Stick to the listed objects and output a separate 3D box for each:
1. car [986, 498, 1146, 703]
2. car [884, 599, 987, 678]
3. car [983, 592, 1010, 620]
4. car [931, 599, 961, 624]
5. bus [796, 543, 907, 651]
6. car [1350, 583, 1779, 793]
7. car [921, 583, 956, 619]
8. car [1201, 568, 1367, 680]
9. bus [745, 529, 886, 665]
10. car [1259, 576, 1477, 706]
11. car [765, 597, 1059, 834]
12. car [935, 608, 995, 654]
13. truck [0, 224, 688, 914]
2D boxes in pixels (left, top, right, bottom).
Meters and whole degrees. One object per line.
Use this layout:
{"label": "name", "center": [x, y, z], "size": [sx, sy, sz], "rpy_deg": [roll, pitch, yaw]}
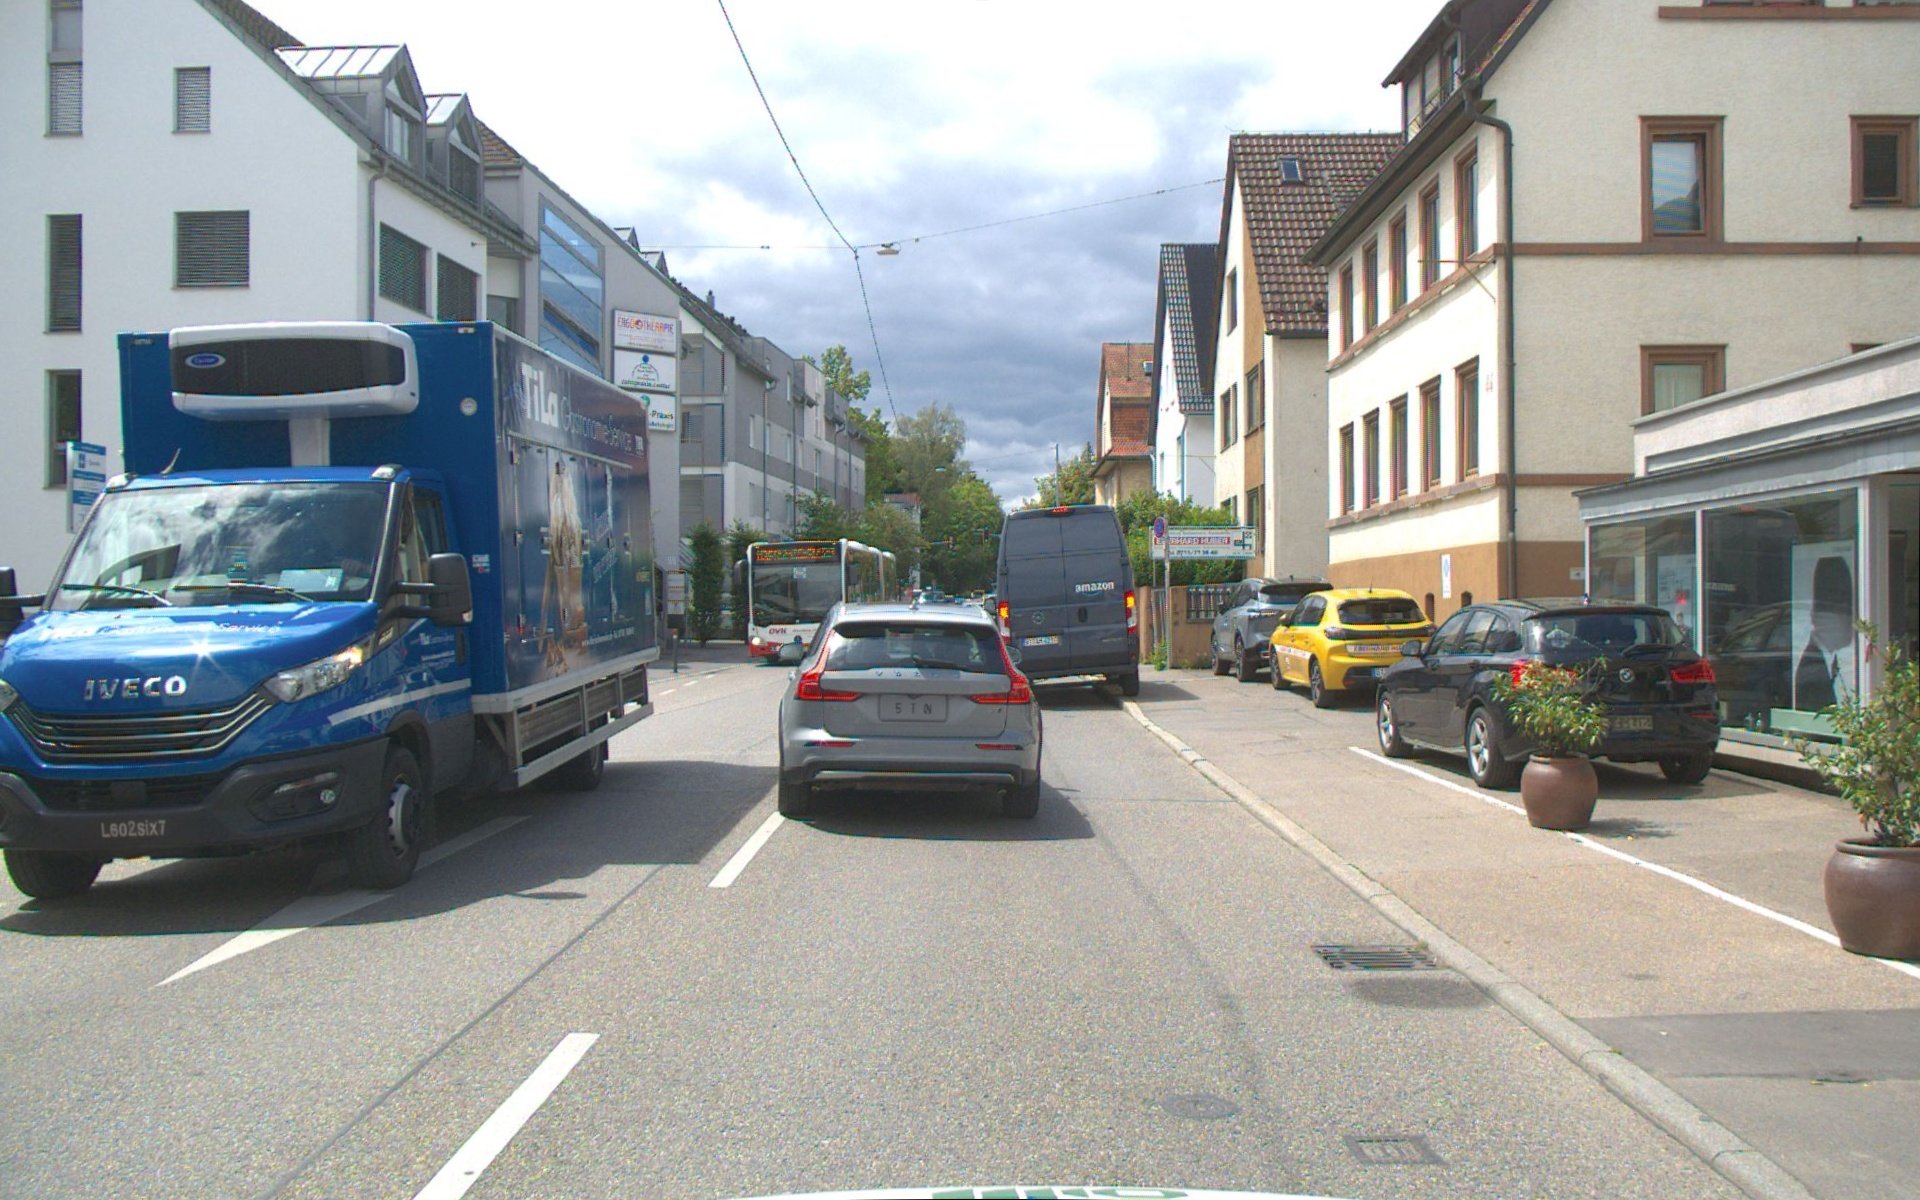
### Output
{"label": "car", "center": [1.631, 0.005, 25.855], "size": [2.205, 2.844, 5.571], "rpy_deg": [-1, 0, 3]}
{"label": "car", "center": [-0.433, 0.738, 33.756], "size": [1.857, 1.472, 3.970], "rpy_deg": [1, 0, 2]}
{"label": "car", "center": [2.794, 0.468, 125.453], "size": [1.952, 2.049, 4.001], "rpy_deg": [0, 0, 2]}
{"label": "car", "center": [-0.944, 0.795, 116.691], "size": [2.062, 1.739, 4.765], "rpy_deg": [-1, 0, 0]}
{"label": "bus", "center": [-3.387, -0.088, 53.722], "size": [2.659, 3.219, 8.071], "rpy_deg": [-1, 0, 3]}
{"label": "car", "center": [4.895, 0.626, 14.185], "size": [1.928, 1.473, 4.534], "rpy_deg": [-1, 0, -1]}
{"label": "car", "center": [-1.348, 0.048, 106.173], "size": [2.062, 2.158, 4.765], "rpy_deg": [-2, 0, 0]}
{"label": "car", "center": [5.268, 0.353, 27.481], "size": [1.822, 1.640, 4.586], "rpy_deg": [-2, 0, 0]}
{"label": "bus", "center": [-3.679, -0.071, 44.551], "size": [2.626, 3.219, 10.186], "rpy_deg": [-1, 0, 1]}
{"label": "car", "center": [5.458, 0.472, 22.690], "size": [1.839, 1.472, 4.307], "rpy_deg": [-1, 2, -1]}
{"label": "car", "center": [-0.287, 0.734, 12.534], "size": [1.857, 1.479, 3.969], "rpy_deg": [1, 0, 1]}
{"label": "car", "center": [0.205, 1.021, 56.108], "size": [1.857, 1.472, 3.970], "rpy_deg": [0, 0, 2]}
{"label": "truck", "center": [-4.044, -0.135, 11.646], "size": [2.795, 3.147, 8.089], "rpy_deg": [-1, 0, 1]}
